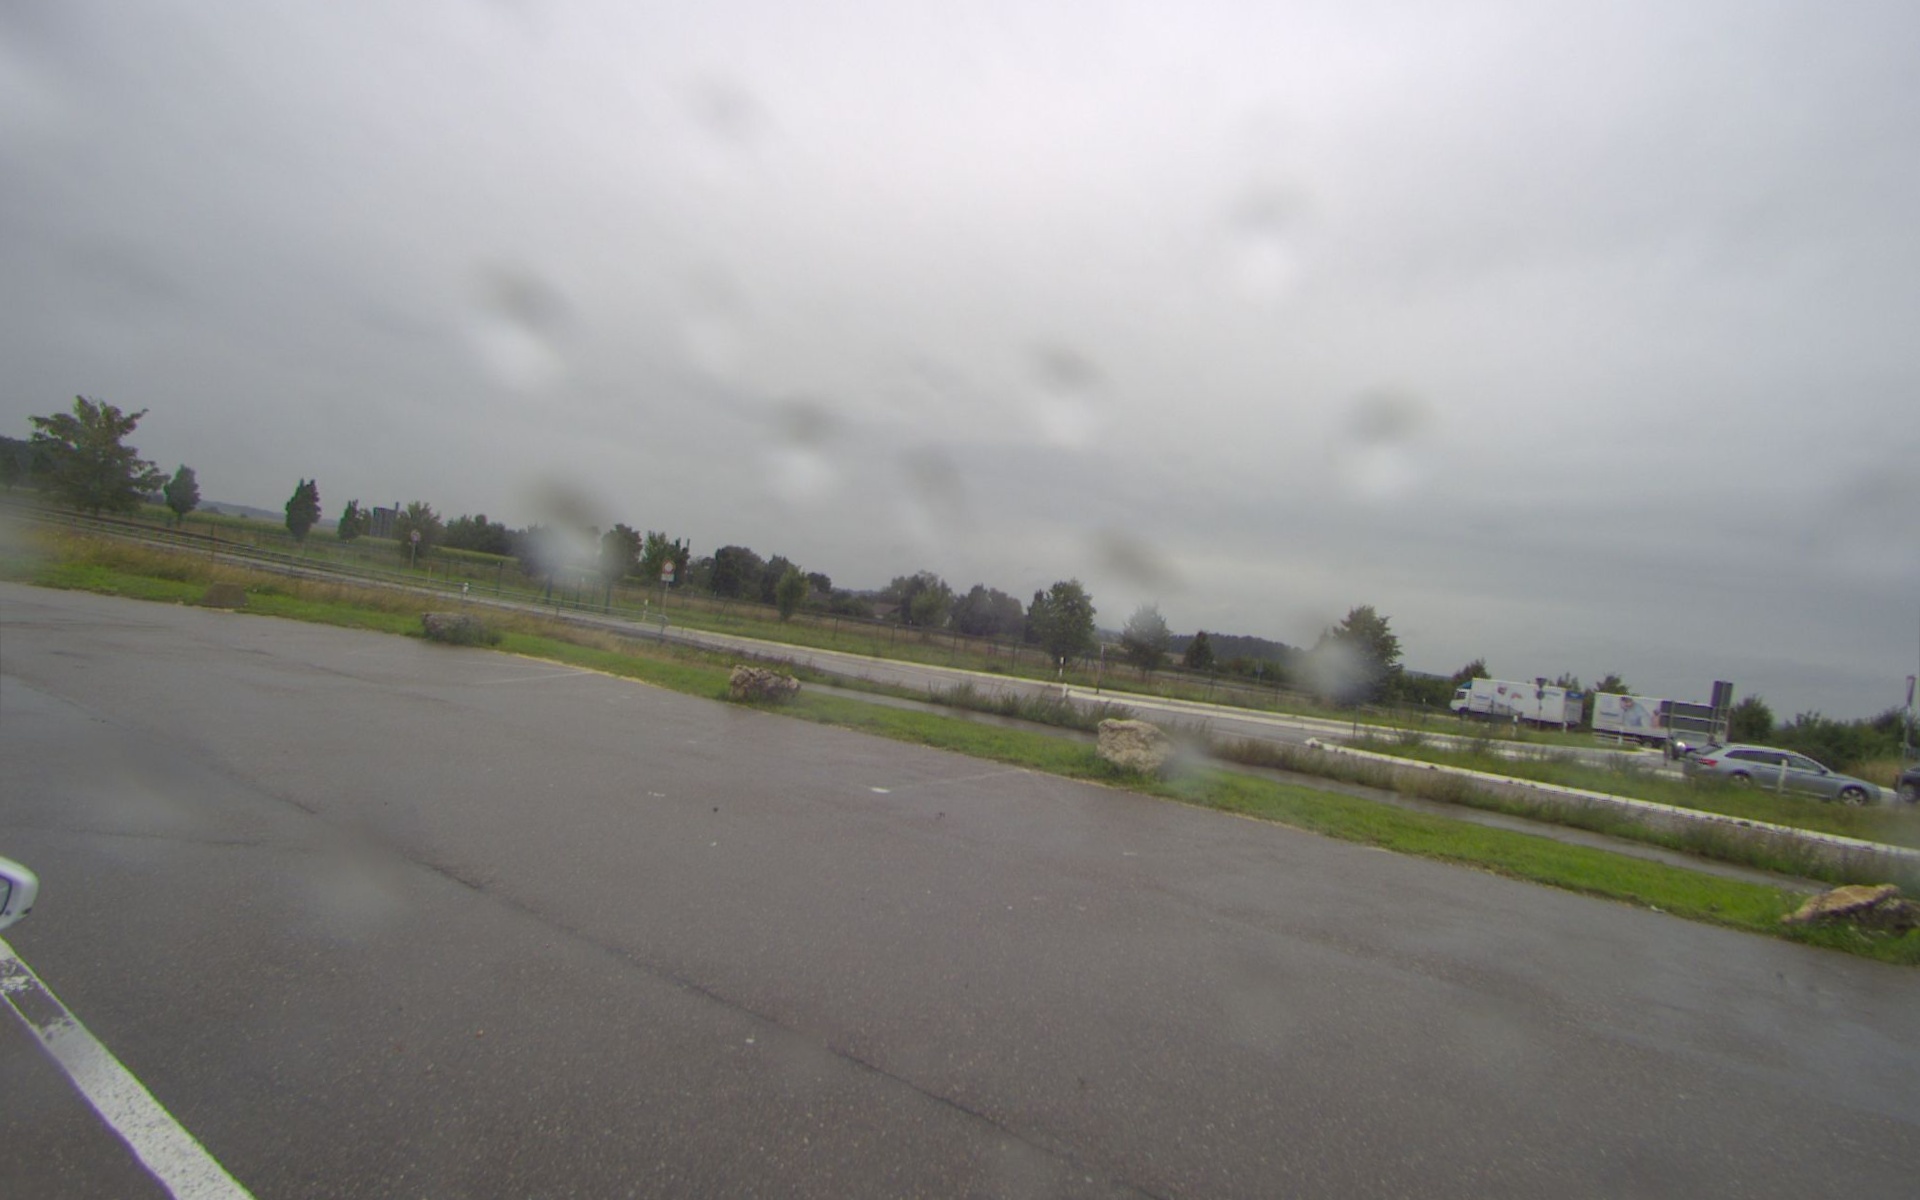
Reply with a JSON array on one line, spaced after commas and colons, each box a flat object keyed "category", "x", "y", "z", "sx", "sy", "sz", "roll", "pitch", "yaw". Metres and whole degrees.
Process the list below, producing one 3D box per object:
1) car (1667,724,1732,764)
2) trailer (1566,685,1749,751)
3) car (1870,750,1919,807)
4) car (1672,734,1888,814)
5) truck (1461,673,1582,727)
[{"category": "car", "x": 36.330, "y": 7.050, "z": 49.514, "sx": 1.726, "sy": 1.341, "sz": 4.304, "roll": 6, "pitch": 0, "yaw": 26}, {"category": "trailer", "x": 48.095, "y": 8.093, "z": 69.839, "sx": 2.190, "sy": 2.935, "sz": 10.040, "roll": 9, "pitch": -2, "yaw": -37}, {"category": "car", "x": 33.602, "y": 6.261, "z": 33.474, "sx": 1.860, "sy": 1.705, "sz": 4.662, "roll": 6, "pitch": 0, "yaw": -9}, {"category": "car", "x": 24.857, "y": 5.237, "z": 30.698, "sx": 4.574, "sy": 1.500, "sz": 2.000, "roll": 6, "pitch": 0, "yaw": 16}, {"category": "truck", "x": 42.876, "y": 7.608, "z": 77.082, "sx": 2.165, "sy": 2.941, "sz": 7.718, "roll": 9, "pitch": -2, "yaw": -35}]
